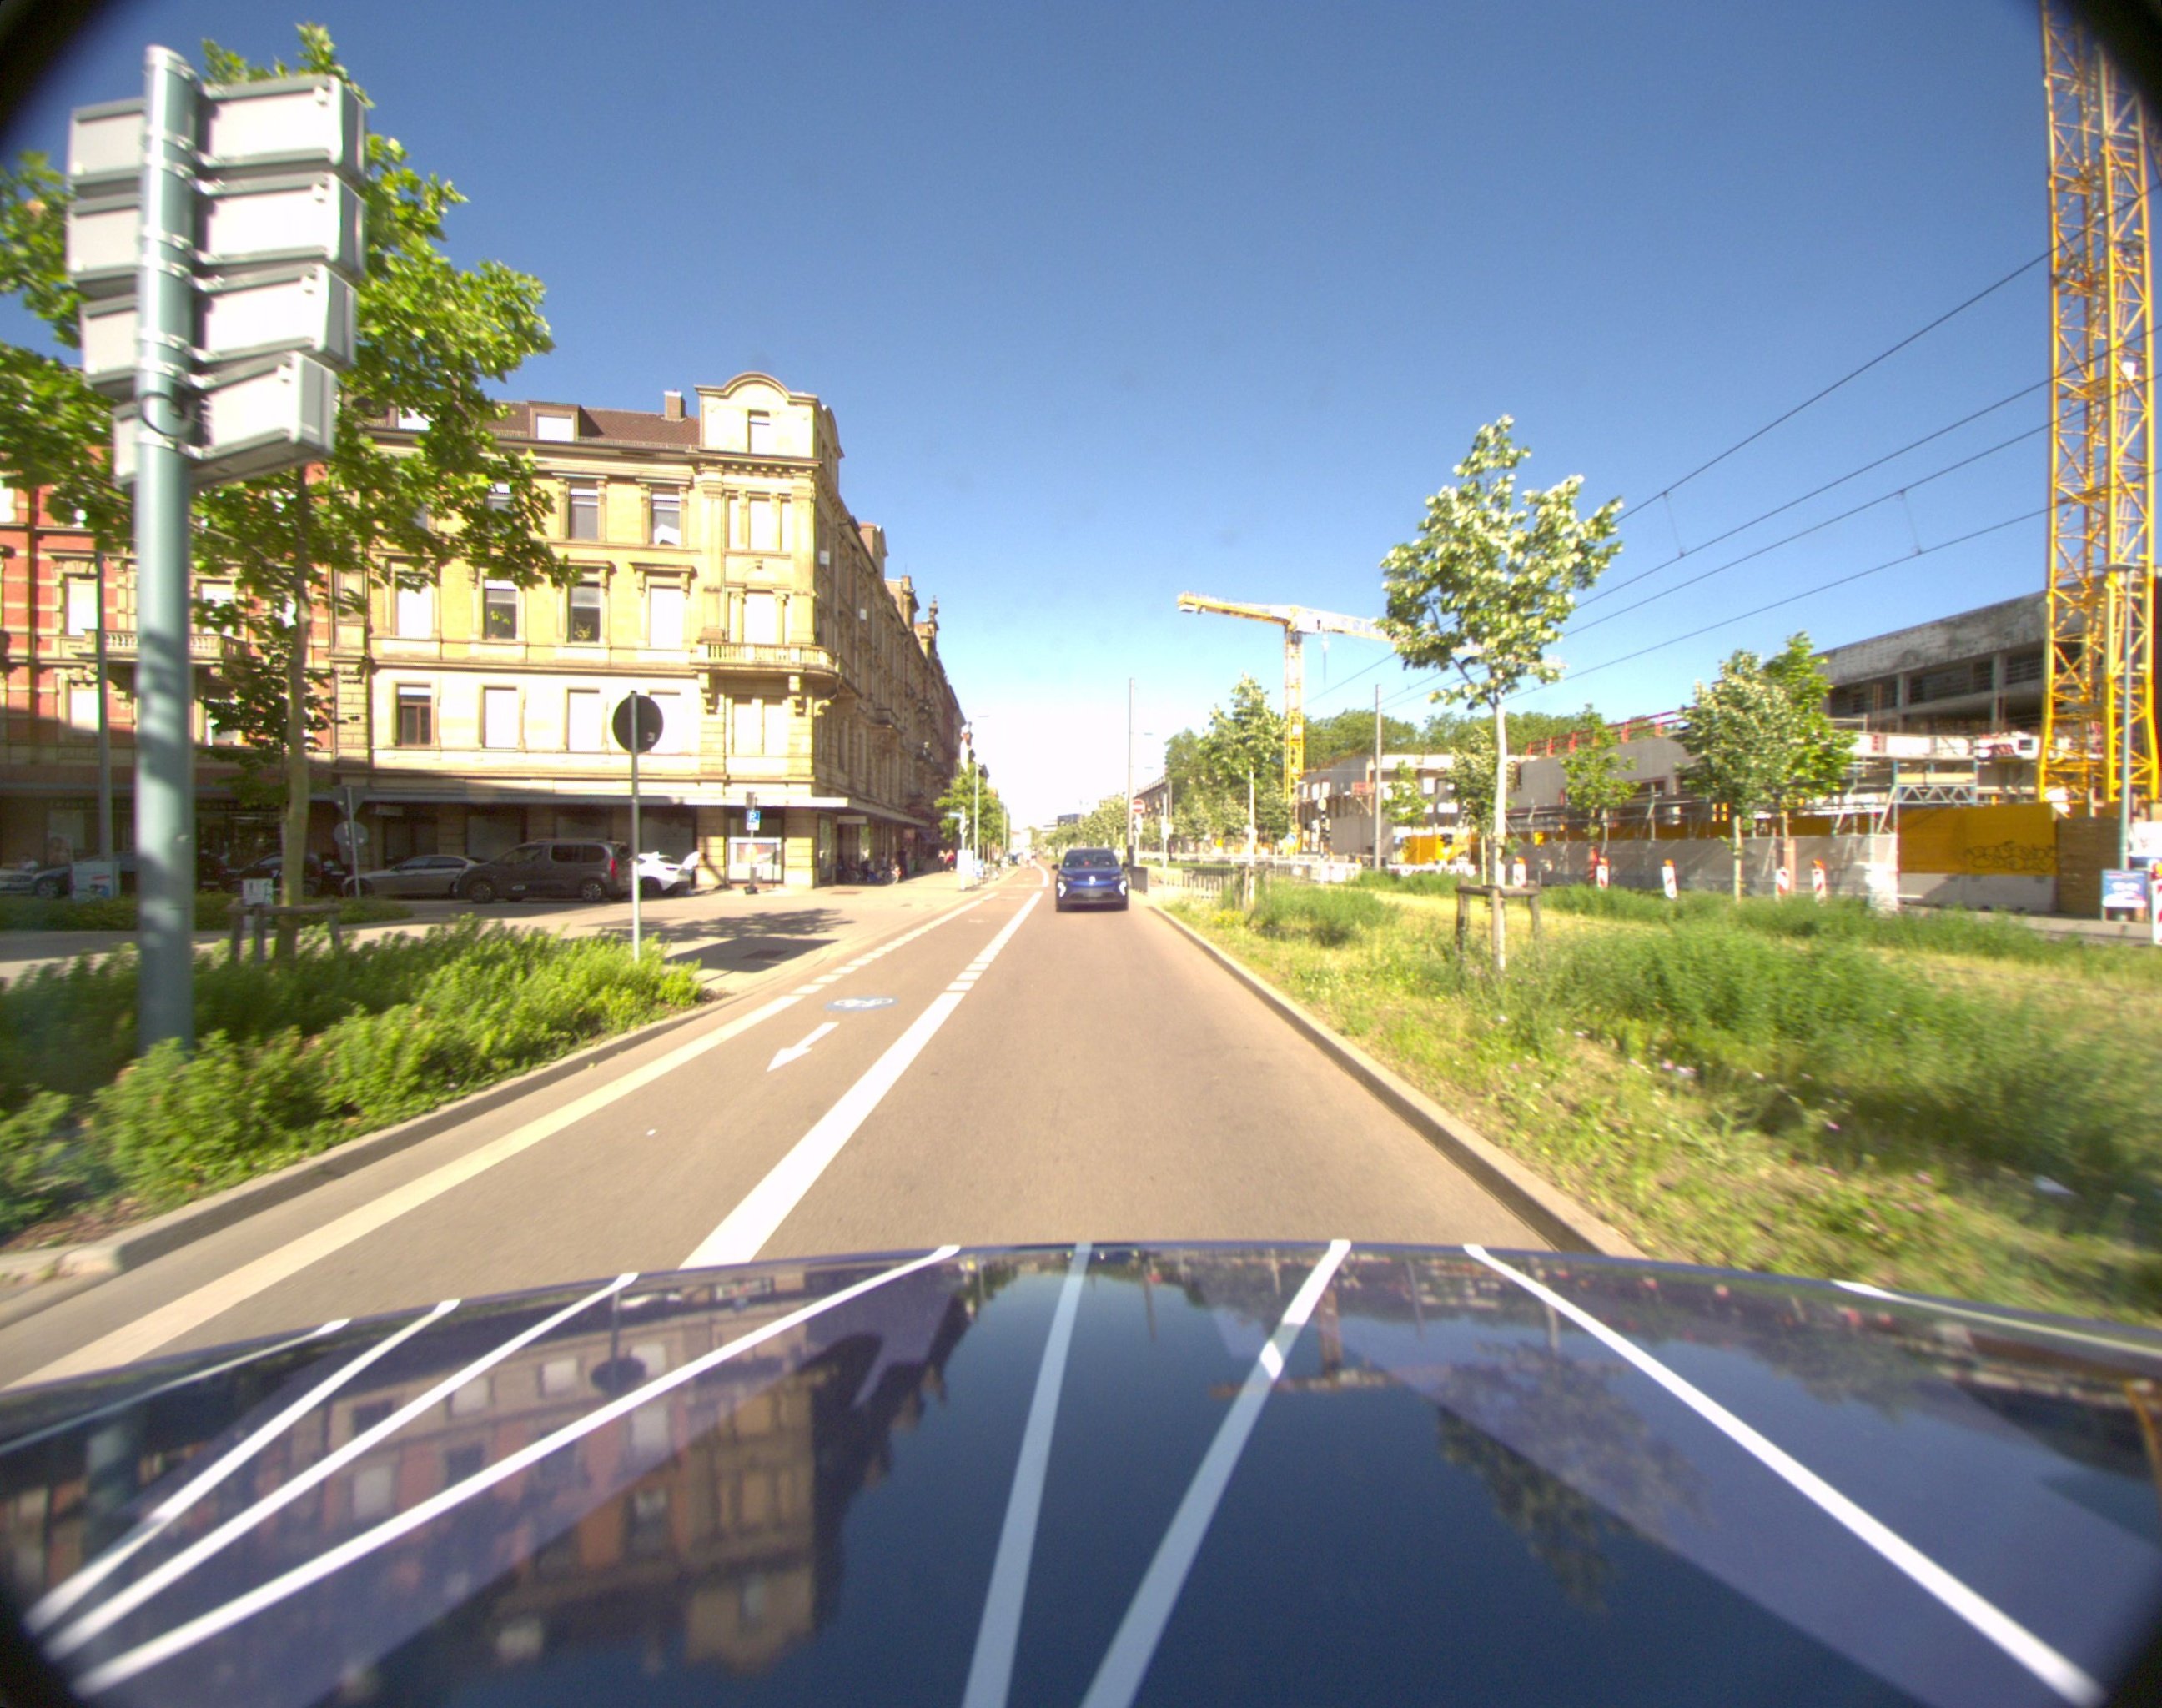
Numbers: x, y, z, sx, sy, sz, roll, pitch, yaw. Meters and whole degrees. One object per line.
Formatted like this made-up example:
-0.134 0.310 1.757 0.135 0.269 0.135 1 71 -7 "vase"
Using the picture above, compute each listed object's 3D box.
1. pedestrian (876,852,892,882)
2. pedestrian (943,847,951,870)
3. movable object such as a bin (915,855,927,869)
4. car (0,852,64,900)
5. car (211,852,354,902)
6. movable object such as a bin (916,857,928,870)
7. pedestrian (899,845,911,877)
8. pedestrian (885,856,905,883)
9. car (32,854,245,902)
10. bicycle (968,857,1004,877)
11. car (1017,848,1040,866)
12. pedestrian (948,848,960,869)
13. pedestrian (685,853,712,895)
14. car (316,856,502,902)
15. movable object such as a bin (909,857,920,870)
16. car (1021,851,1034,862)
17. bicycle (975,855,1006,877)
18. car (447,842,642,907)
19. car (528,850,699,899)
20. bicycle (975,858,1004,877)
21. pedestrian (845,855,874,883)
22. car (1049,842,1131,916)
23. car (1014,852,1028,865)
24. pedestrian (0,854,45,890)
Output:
-9.365 0.600 36.128 0.574 1.386 0.648 2 1 -4 "pedestrian"
-10.660 0.374 60.398 0.512 1.839 0.501 0 1 5 "pedestrian"
-11.660 0.587 55.253 0.692 1.007 0.587 2 2 2 "movable object such as a bin"
-33.390 0.632 22.180 4.441 1.346 1.649 0 1 -11 "car"
-24.669 0.691 23.551 2.792 1.486 1.304 0 1 -11 "car"
-11.676 0.702 55.880 0.692 0.969 0.587 -1 1 2 "movable object such as a bin"
-9.708 0.392 41.891 0.512 1.791 0.501 0 1 5 "pedestrian"
-8.656 0.707 35.375 0.718 1.211 0.647 2 1 3 "pedestrian"
-28.159 0.685 22.838 3.825 1.346 1.649 0 1 -11 "car"
-5.670 0.787 45.208 2.055 1.113 0.603 2 1 -3 "bicycle"
-5.774 0.311 84.102 1.821 1.783 4.001 -2 1 6 "car"
-9.549 0.340 57.297 0.753 1.575 0.808 2 1 -3 "pedestrian"
-13.346 0.694 26.525 0.683 1.442 0.543 0 1 -8 "pedestrian"
-21.068 0.755 23.979 4.193 1.386 1.556 0 0 -11 "car"
-11.509 0.681 52.602 0.606 0.861 0.476 2 2 2 "movable object such as a bin"
-7.367 0.308 104.310 1.670 1.453 3.747 -2 1 -3 "car"
-5.694 0.753 48.095 1.870 1.244 0.691 3 1 -4 "bicycle"
-15.260 0.550 21.842 4.168 1.742 1.816 0 1 -11 "car"
-15.279 0.627 25.059 4.409 1.535 1.851 0 1 -11 "car"
-5.594 0.832 46.481 1.668 1.104 0.602 2 1 -11 "bicycle"
-9.960 0.682 34.147 1.075 1.211 0.702 2 1 -3 "pedestrian"
0.328 0.545 18.787 1.748 1.613 4.154 -1 0 4 "car"
-7.776 0.527 98.652 1.670 1.574 3.747 -2 1 -3 "car"
-35.023 0.586 25.082 0.647 1.163 0.680 0 1 -7 "pedestrian"
